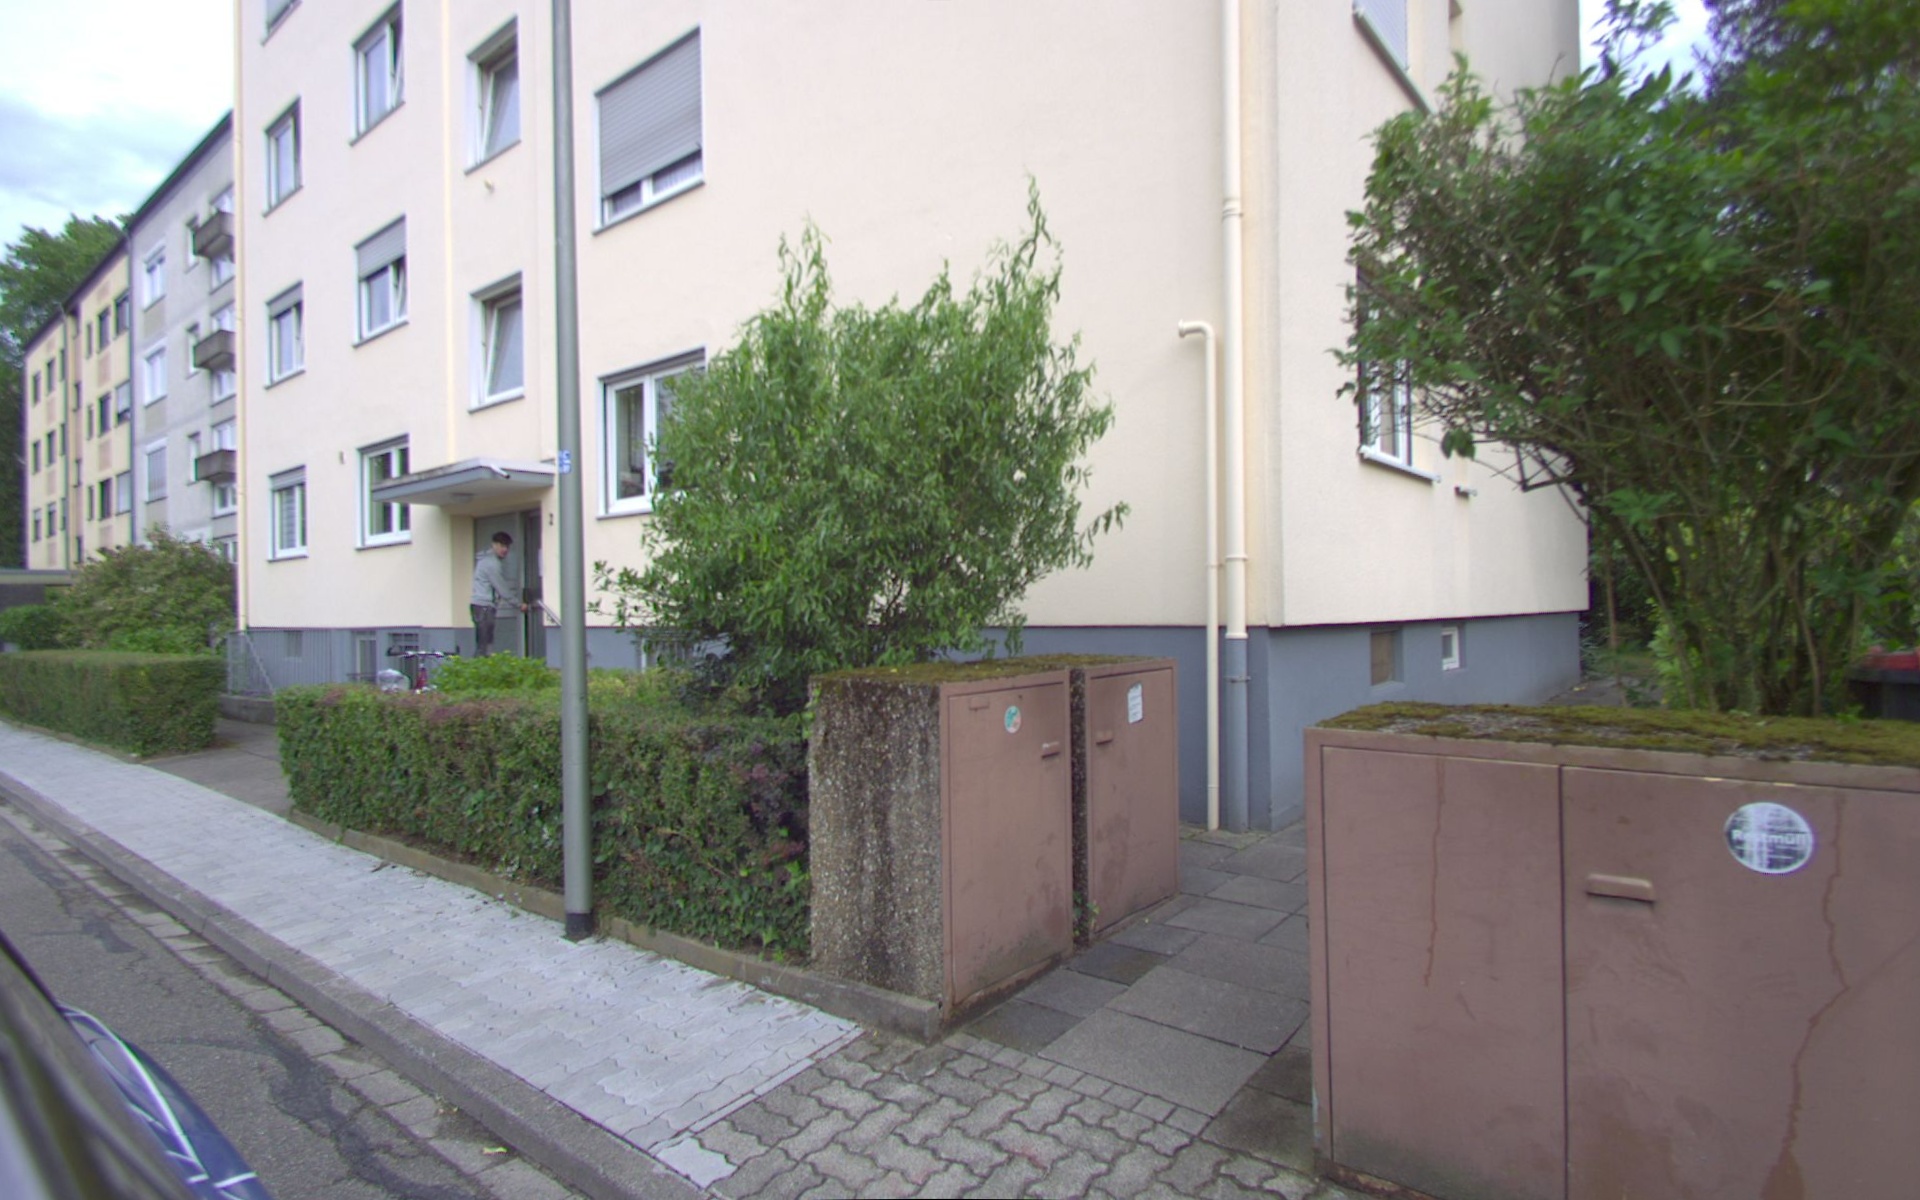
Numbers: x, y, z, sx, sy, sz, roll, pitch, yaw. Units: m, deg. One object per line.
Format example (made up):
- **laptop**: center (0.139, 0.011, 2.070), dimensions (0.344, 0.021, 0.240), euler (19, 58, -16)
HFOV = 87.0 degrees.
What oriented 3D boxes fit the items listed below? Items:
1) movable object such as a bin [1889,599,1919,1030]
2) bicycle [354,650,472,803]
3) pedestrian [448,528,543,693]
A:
- **movable object such as a bin**: center (2.981, 0.596, 2.816), dimensions (0.515, 1.197, 0.500), euler (-1, -2, 38)
- **bicycle**: center (-4.360, 0.963, 8.032), dimensions (1.417, 1.084, 0.315), euler (-1, 0, 40)
- **pedestrian**: center (-5.170, 0.111, 11.267), dimensions (0.756, 1.762, 0.672), euler (-2, 0, 41)
